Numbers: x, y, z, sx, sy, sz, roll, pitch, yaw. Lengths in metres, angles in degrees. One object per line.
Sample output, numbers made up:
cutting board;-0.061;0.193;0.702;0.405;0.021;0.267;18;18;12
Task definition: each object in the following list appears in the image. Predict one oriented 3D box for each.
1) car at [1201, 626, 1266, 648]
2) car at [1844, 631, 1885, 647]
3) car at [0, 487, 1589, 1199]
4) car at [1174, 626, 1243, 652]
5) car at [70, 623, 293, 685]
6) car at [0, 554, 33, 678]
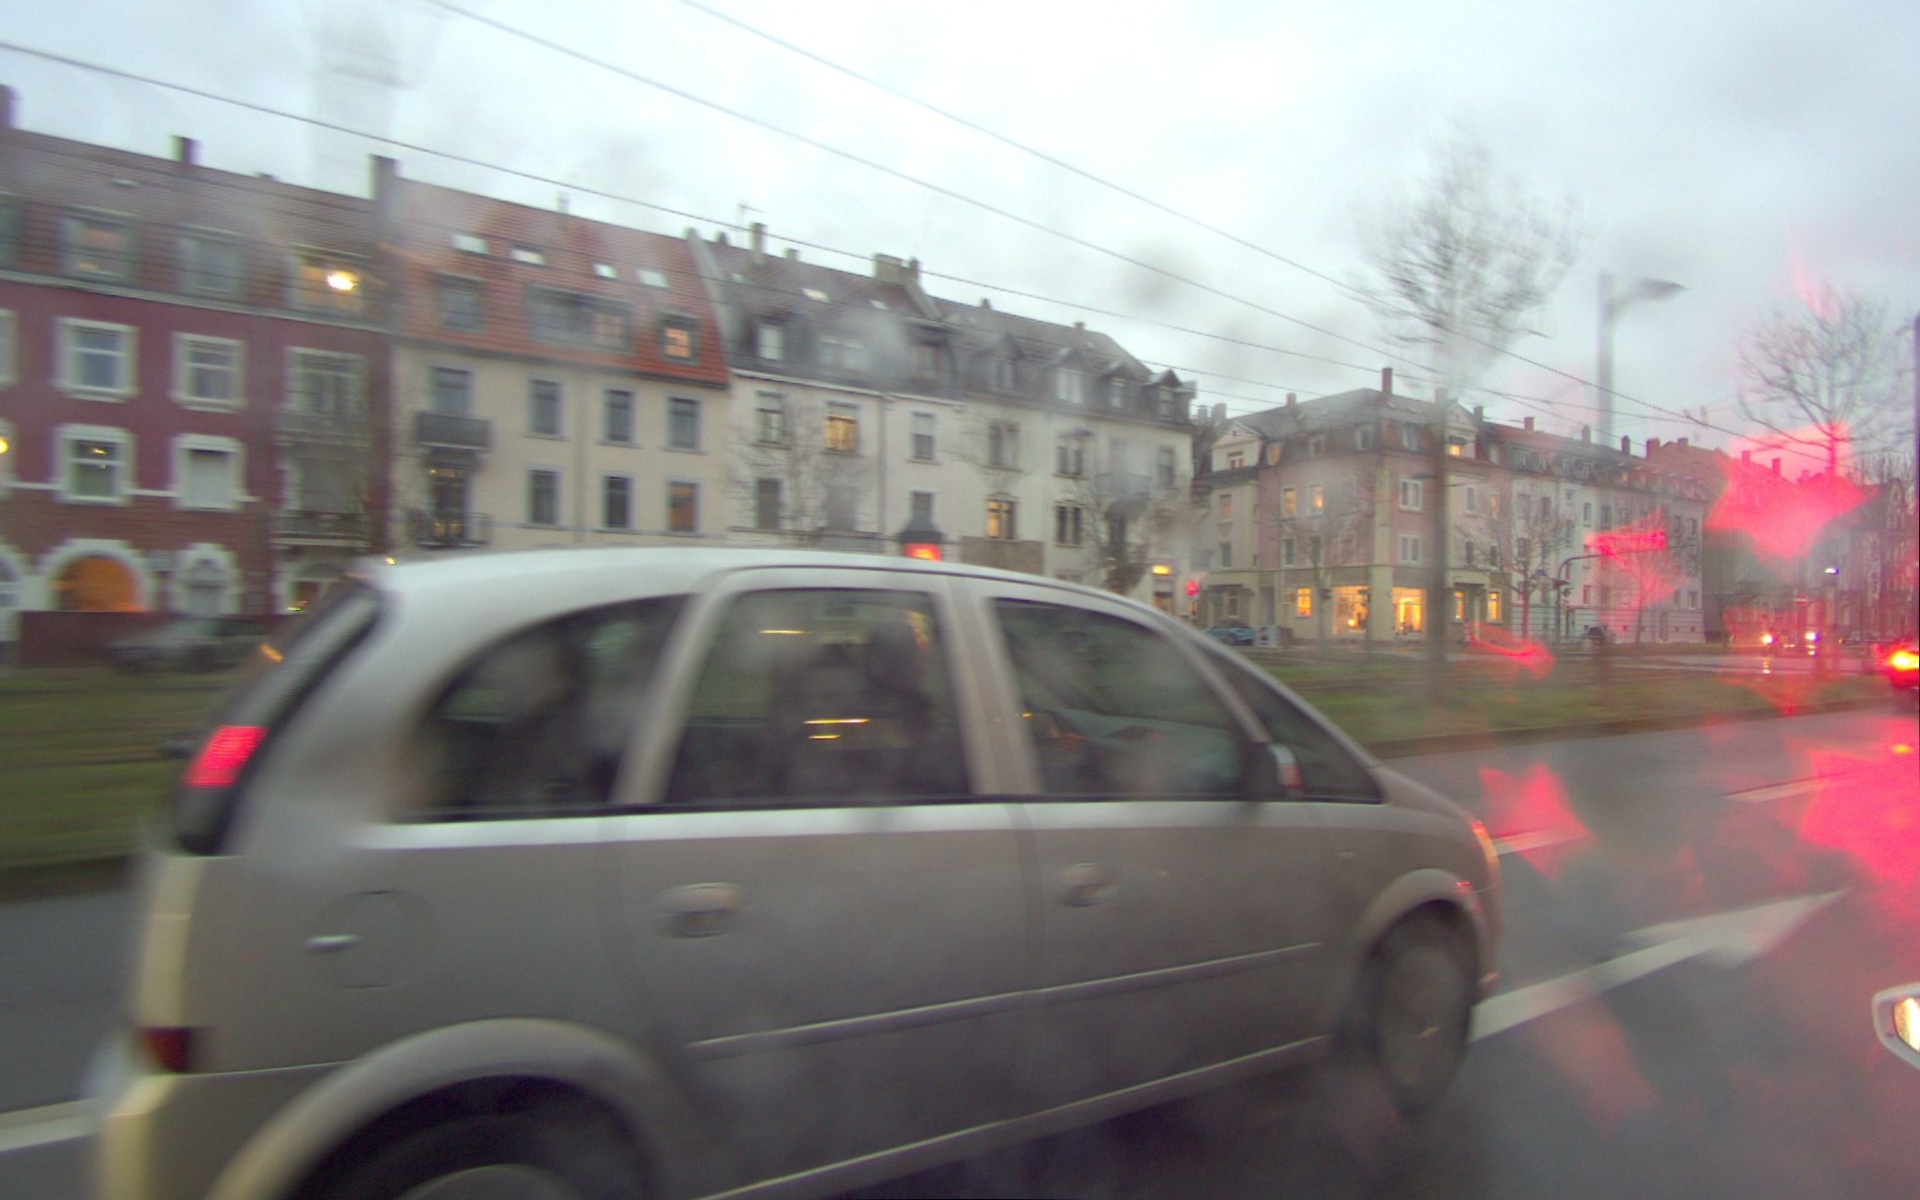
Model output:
car;18.798;2.551;69.152;1.981;1.439;3.959;1;-1;-36
car;77.675;3.339;86.243;3.518;1.372;1.766;1;-2;-33
car;-0.074;0.702;3.131;4.006;1.621;1.801;1;-1;-30
car;15.092;2.358;61.179;1.775;1.505;3.966;1;-2;-32
car;-18.413;1.253;24.035;1.959;1.349;4.003;0;-2;6
car;-23.401;0.287;21.002;1.959;2.834;5.872;0;-2;10
